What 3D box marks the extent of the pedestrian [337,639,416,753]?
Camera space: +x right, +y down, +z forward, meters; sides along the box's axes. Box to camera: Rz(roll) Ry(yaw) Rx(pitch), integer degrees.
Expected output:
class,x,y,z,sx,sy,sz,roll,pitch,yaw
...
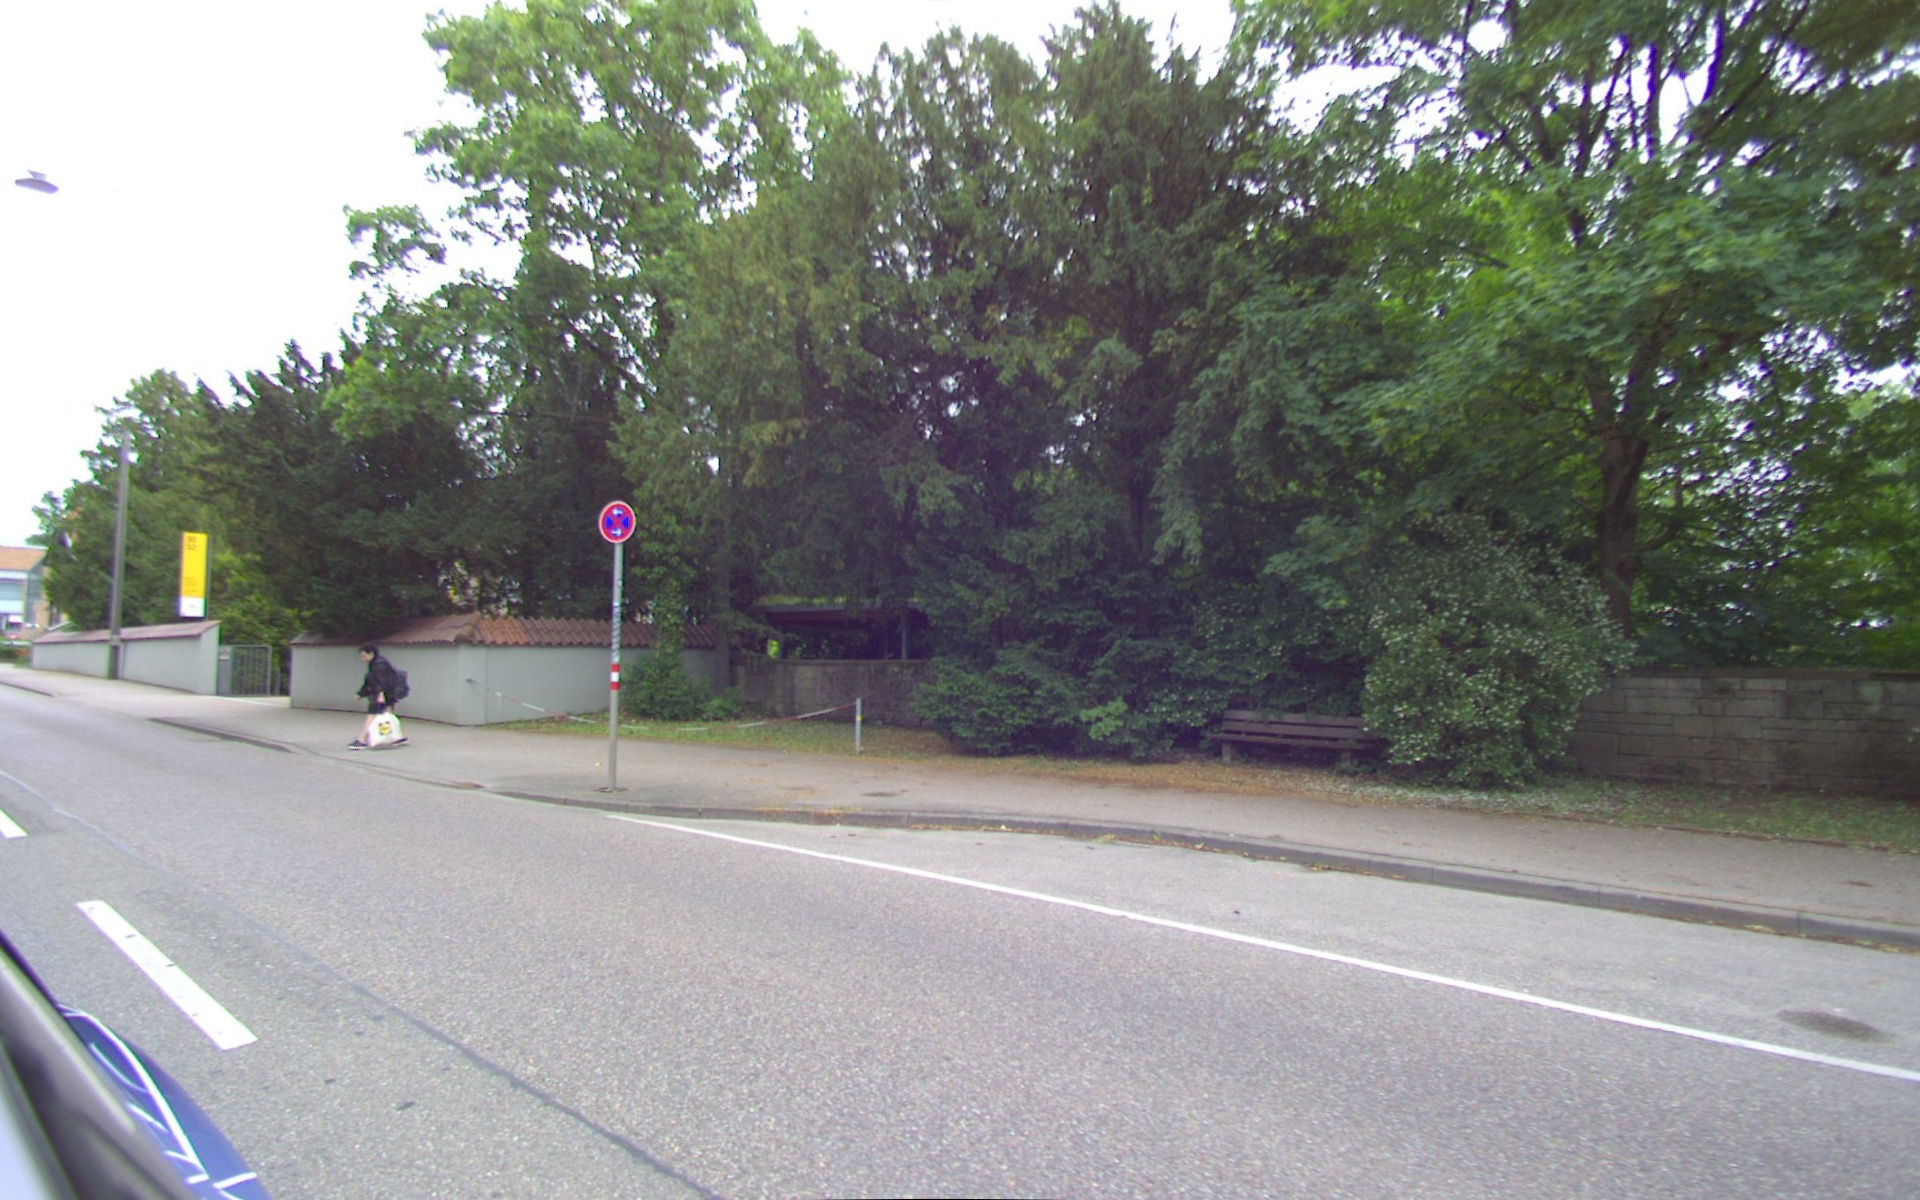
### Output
class,x,y,z,sx,sy,sz,roll,pitch,yaw
pedestrian,-8.521,1.372,14.826,0.887,1.572,0.931,0,-2,-23
